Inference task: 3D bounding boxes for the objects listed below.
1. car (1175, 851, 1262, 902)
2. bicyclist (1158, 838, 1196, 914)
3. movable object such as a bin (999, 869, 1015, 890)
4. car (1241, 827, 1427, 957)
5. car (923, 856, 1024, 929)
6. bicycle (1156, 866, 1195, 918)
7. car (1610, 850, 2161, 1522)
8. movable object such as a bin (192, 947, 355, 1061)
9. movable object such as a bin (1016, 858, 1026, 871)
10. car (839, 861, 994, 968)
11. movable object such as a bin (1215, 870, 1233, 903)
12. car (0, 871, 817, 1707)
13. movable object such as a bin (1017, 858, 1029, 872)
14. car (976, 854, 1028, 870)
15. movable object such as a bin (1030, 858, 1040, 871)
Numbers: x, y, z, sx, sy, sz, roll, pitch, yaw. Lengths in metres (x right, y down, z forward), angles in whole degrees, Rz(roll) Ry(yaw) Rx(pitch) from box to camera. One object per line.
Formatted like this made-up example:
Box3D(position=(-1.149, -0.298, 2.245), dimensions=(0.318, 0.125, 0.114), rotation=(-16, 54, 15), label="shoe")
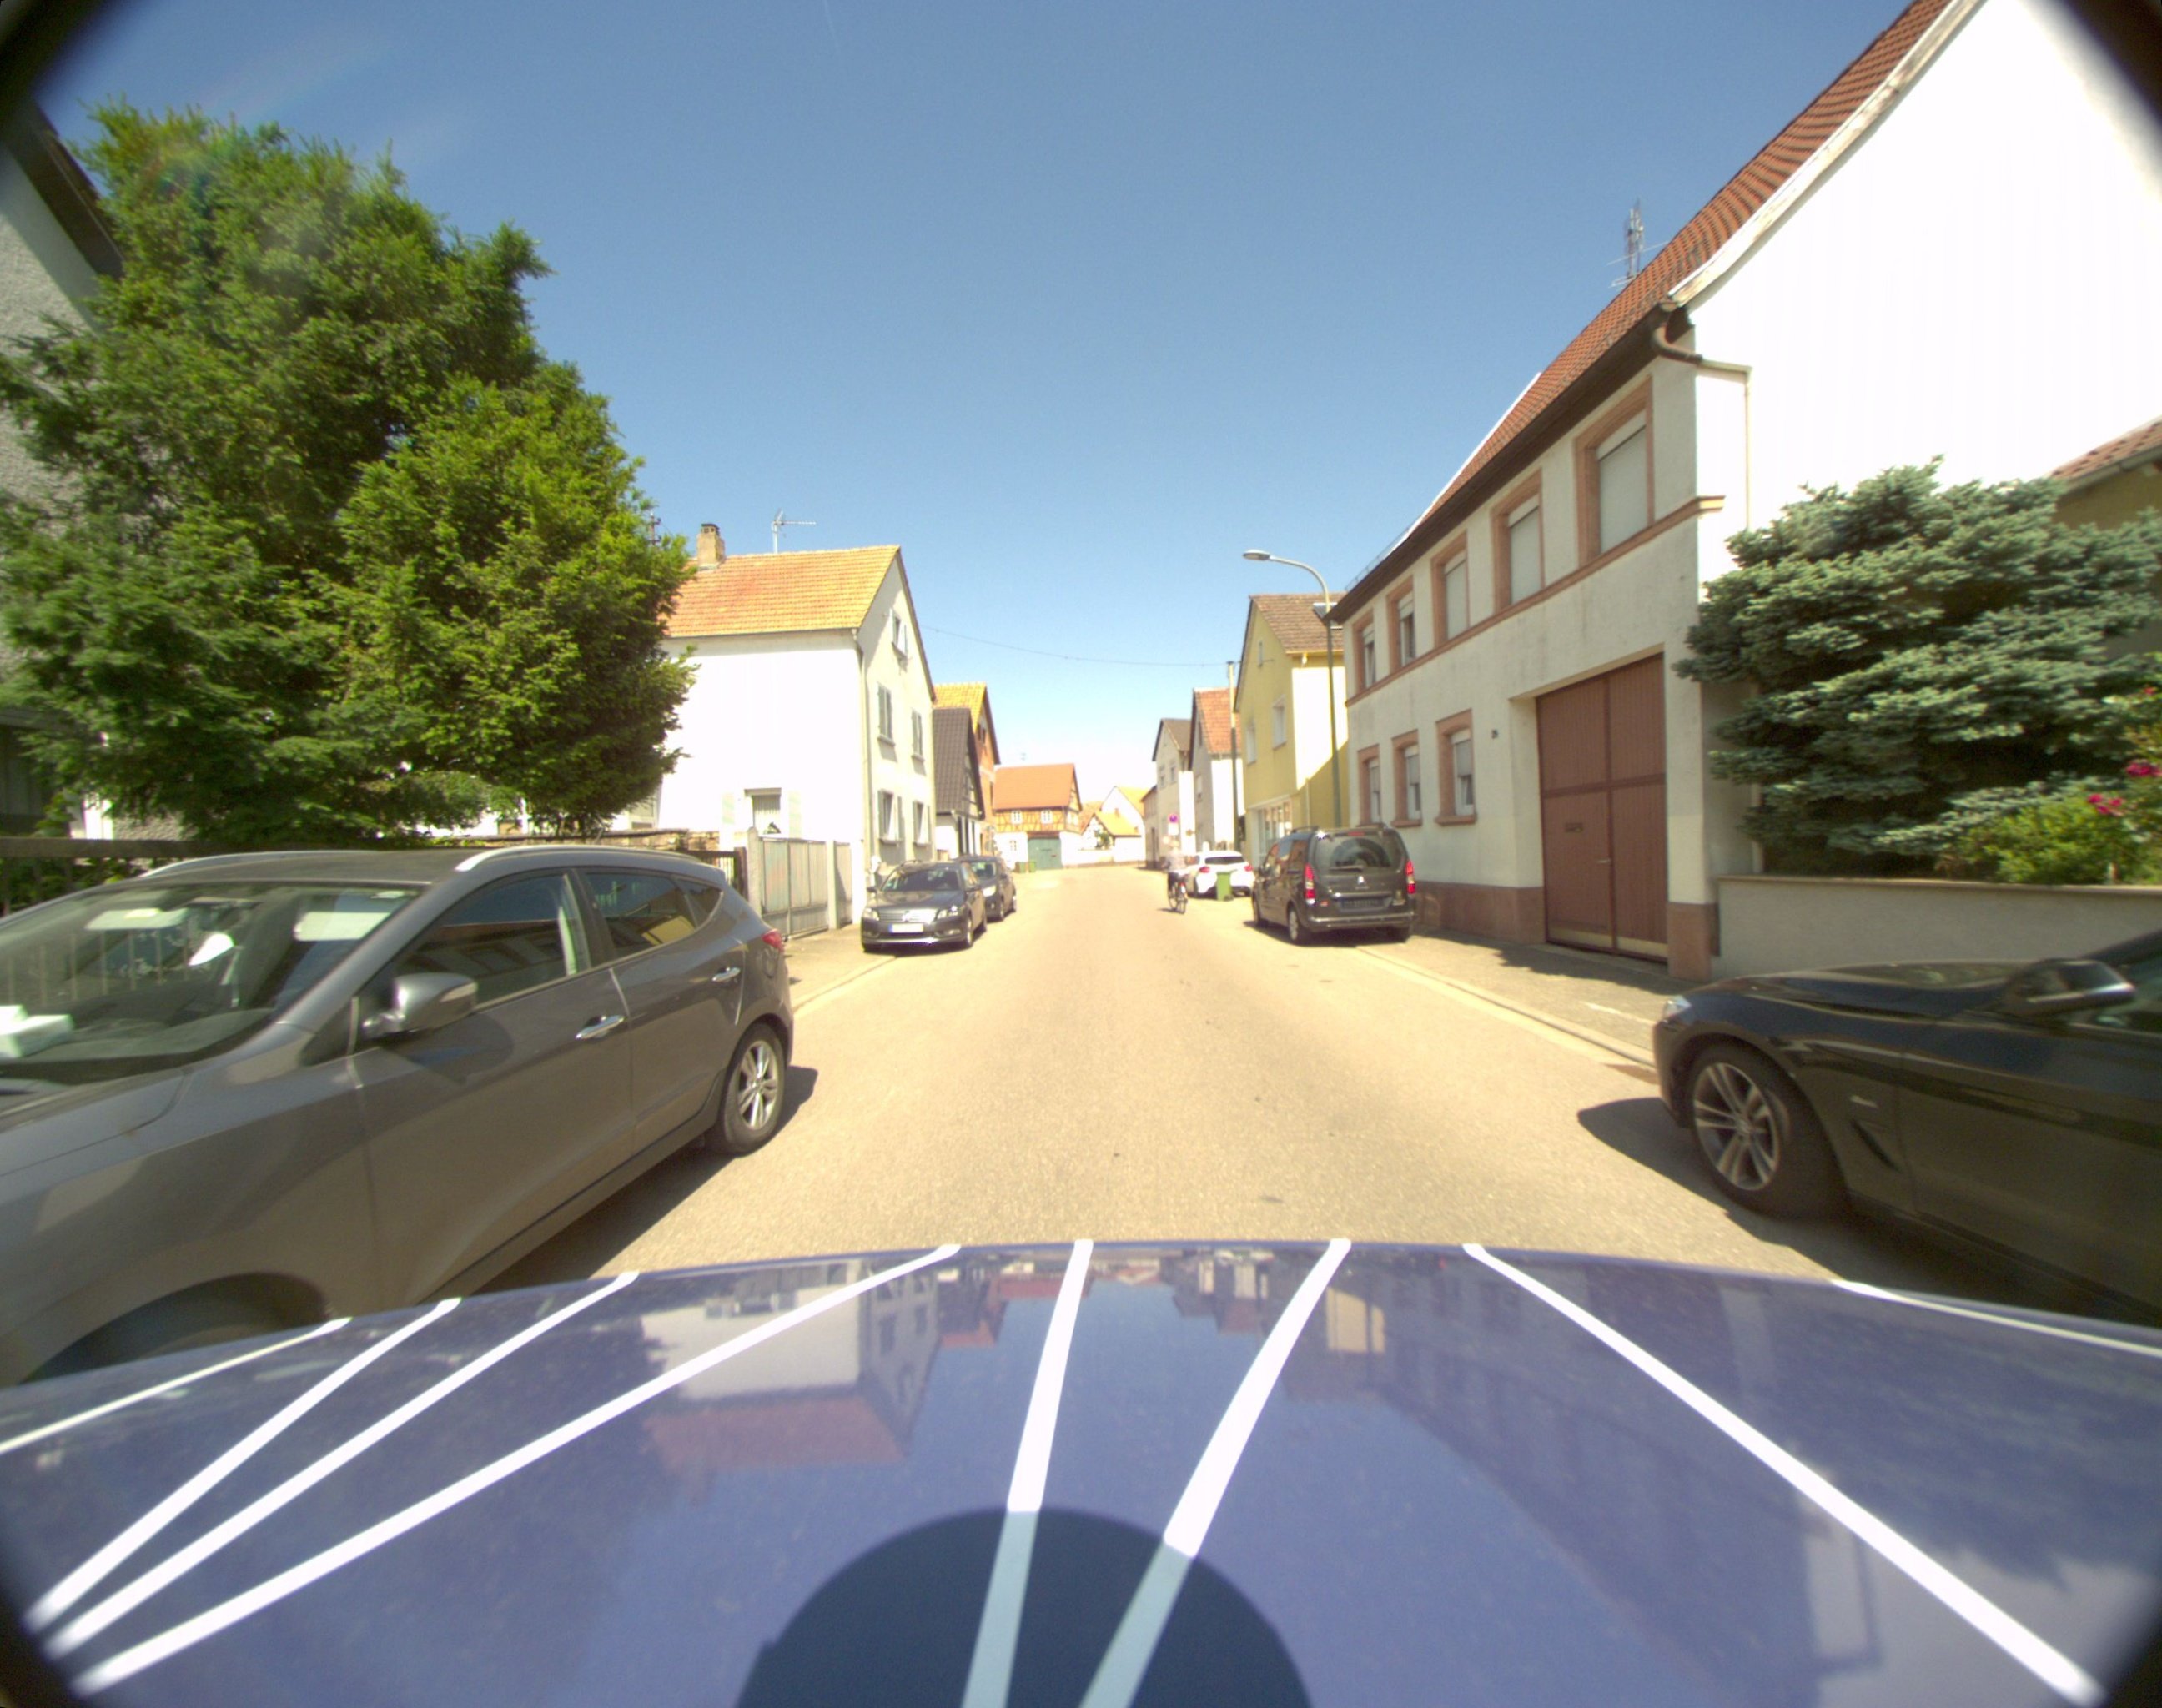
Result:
Box3D(position=(4.337, 0.650, 24.570), dimensions=(1.839, 1.455, 4.269), rotation=(-2, 0, -2), label="car")
Box3D(position=(2.332, 0.524, 18.441), dimensions=(0.705, 1.760, 0.624), rotation=(-4, 1, -3), label="bicyclist")
Box3D(position=(-3.354, 1.139, 34.444), dimensions=(0.538, 0.908, 0.552), rotation=(-2, 1, 18), label="movable object such as a bin")
Box3D(position=(4.138, 0.542, 13.241), dimensions=(1.839, 1.827, 4.353), rotation=(-3, 0, 2), label="car")
Box3D(position=(-2.628, 0.888, 19.699), dimensions=(1.802, 1.551, 4.631), rotation=(-2, 0, 1), label="car")
Box3D(position=(2.281, 0.885, 18.491), dimensions=(0.591, 1.141, 1.948), rotation=(-2, 0, -2), label="bicycle")
Box3D(position=(3.455, 0.799, 1.288), dimensions=(1.849, 1.518, 4.765), rotation=(-3, 0, 2), label="car")
Box3D(position=(-7.579, 1.390, 7.162), dimensions=(0.884, 0.943, 0.569), rotation=(-1, 1, -1), label="movable object such as a bin")
Box3D(position=(-5.394, 0.934, 67.786), dimensions=(0.721, 1.075, 0.755), rotation=(-2, 0, 5), label="movable object such as a bin")
Box3D(position=(-2.788, 0.951, 13.993), dimensions=(1.824, 1.500, 4.581), rotation=(-2, 0, 0), label="car")
Box3D(position=(4.162, 0.939, 22.072), dimensions=(0.425, 0.899, 0.496), rotation=(-2, 1, 19), label="movable object such as a bin")
Box3D(position=(-2.671, 0.950, 2.608), dimensions=(1.798, 1.621, 4.361), rotation=(-2, 0, 2), label="car")
Box3D(position=(-4.830, 0.921, 63.591), dimensions=(0.763, 1.066, 0.671), rotation=(-3, 1, -32), label="movable object such as a bin")
Box3D(position=(-7.980, 0.797, 76.720), dimensions=(4.760, 1.443, 2.002), rotation=(-2, 0, 12), label="car")
Box3D(position=(-3.986, 0.876, 65.641), dimensions=(0.688, 1.086, 0.638), rotation=(-2, 0, 9), label="movable object such as a bin")
